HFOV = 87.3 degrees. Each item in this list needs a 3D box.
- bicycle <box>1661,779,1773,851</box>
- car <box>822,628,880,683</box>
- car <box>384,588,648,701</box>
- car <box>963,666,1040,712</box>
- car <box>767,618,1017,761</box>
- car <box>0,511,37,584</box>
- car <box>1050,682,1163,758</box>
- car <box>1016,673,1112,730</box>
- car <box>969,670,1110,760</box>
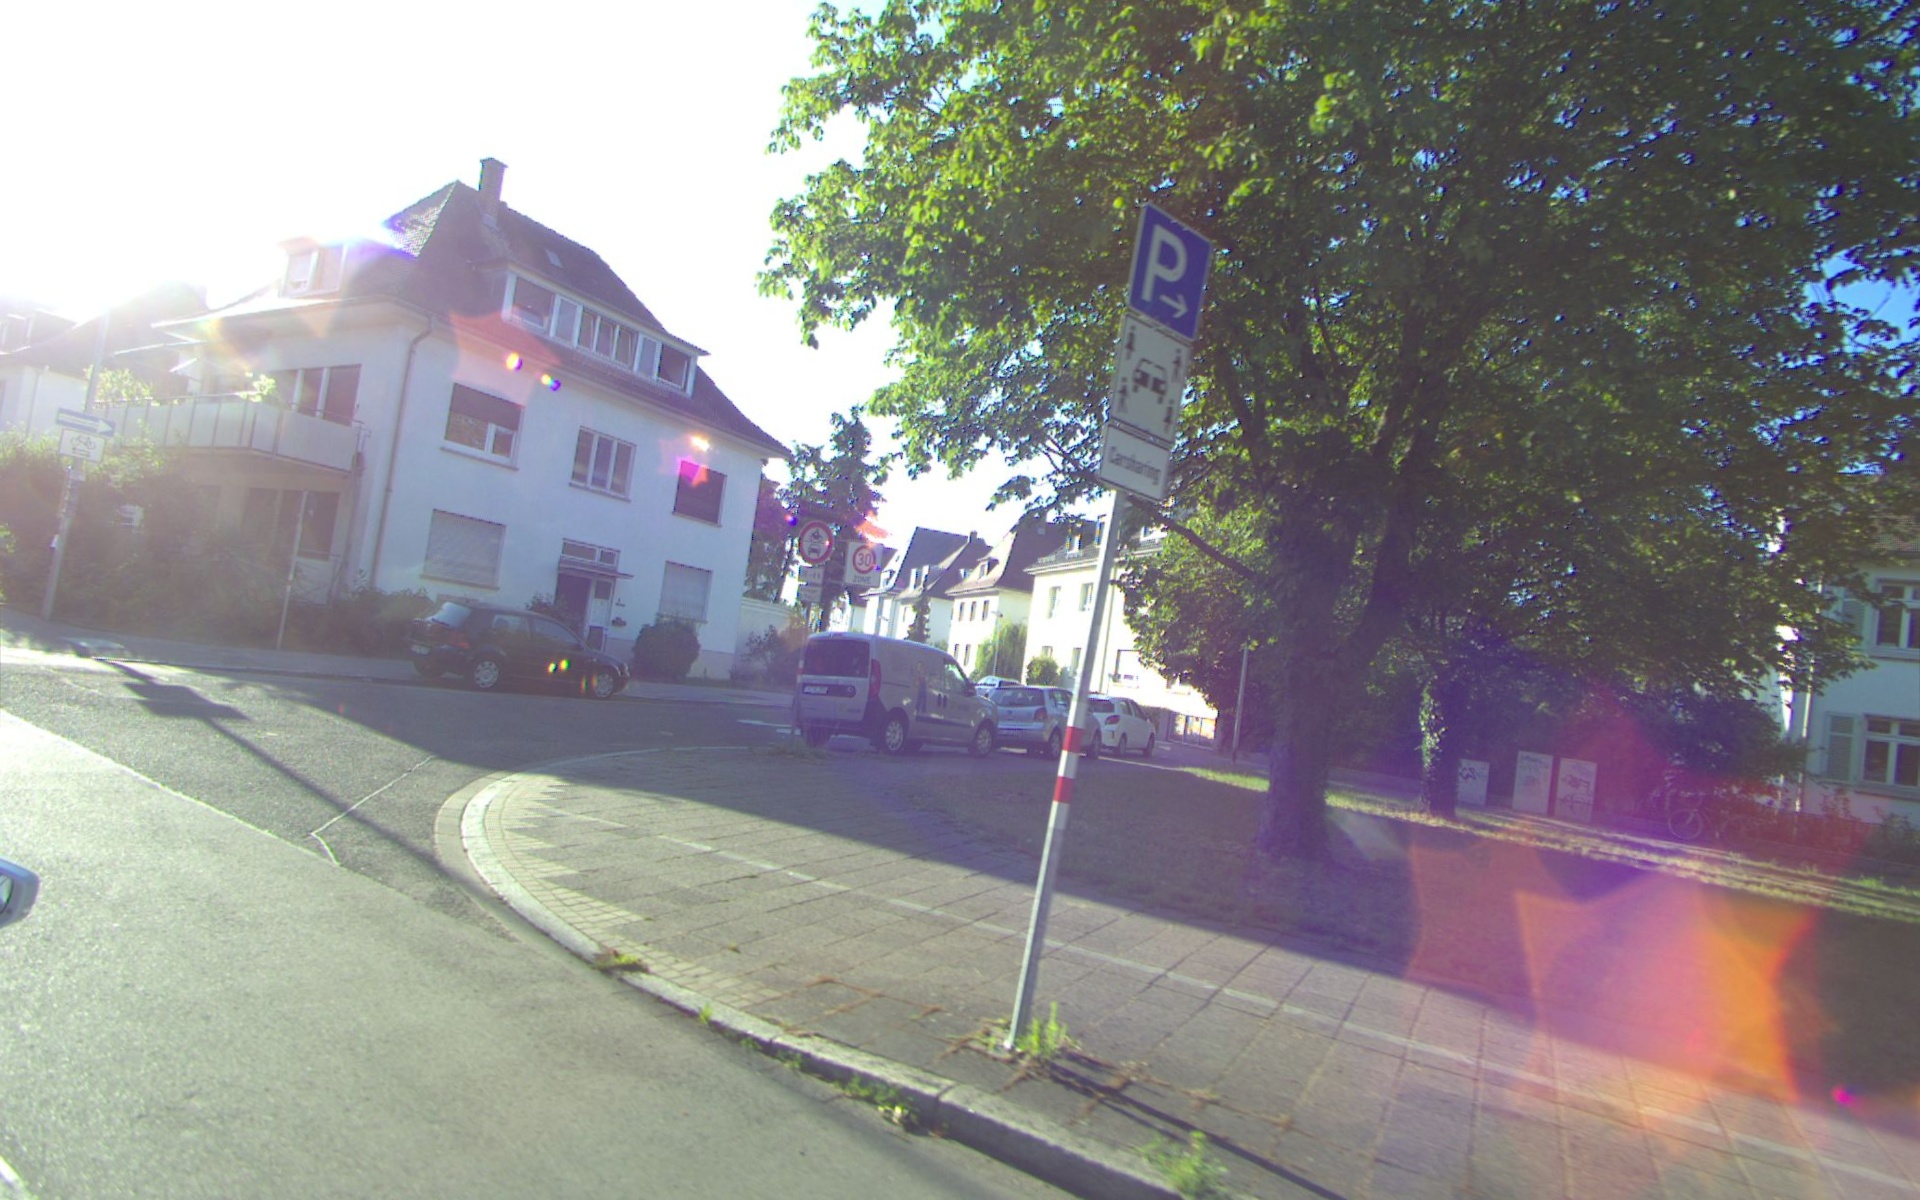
[{"bbox_3d":[17.349,4.917,23.104,1.922,1.251,0.450,6,-3,31],"label":"bicycle"},{"bbox_3d":[-5.659,2.917,51.853,2.081,2.358,4.517,10,-6,-13],"label":"car"},{"bbox_3d":[-7.902,0.873,18.286,1.688,1.461,4.000,5,-6,32],"label":"car"},{"bbox_3d":[1.836,4.023,45.909,1.973,1.586,4.095,9,-4,-19],"label":"car"},{"bbox_3d":[-0.997,1.616,17.221,1.998,1.893,4.256,5,-6,32],"label":"car"},{"bbox_3d":[-27.464,-1.640,26.622,1.731,1.839,4.002,0,-7,28],"label":"car"},{"bbox_3d":[3.771,3.081,25.316,1.497,1.538,3.939,4,-7,27],"label":"car"},{"bbox_3d":[3.742,3.675,36.996,1.971,1.568,3.990,9,-4,-16],"label":"car"},{"bbox_3d":[1.744,2.437,20.935,1.577,1.531,3.568,6,-5,27],"label":"car"}]
